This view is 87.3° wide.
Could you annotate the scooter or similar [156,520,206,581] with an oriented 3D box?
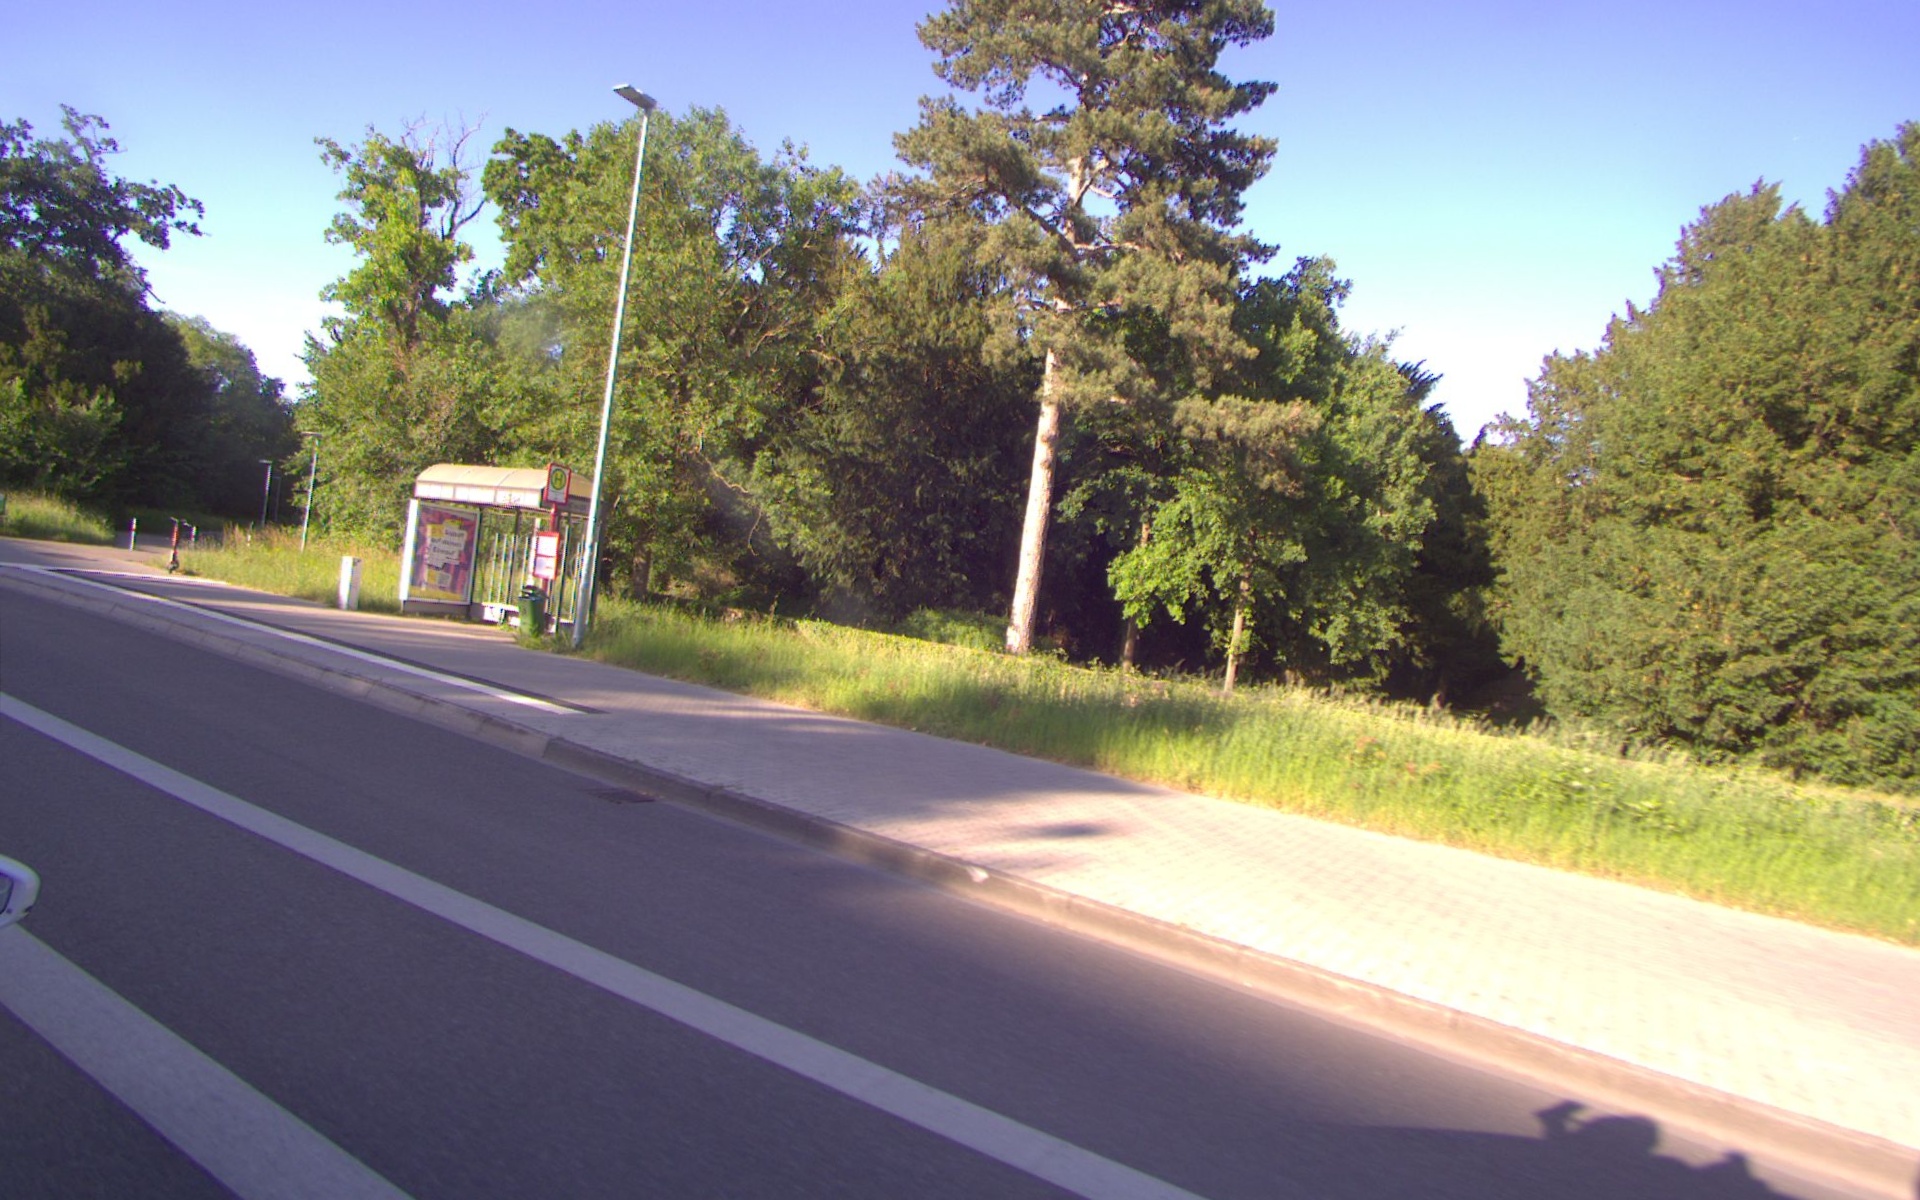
[{"bbox_3d":[-17.615,-1.130,22.781,0.717,1.263,1.315,7,0,-35],"label":"scooter or similar"}]
